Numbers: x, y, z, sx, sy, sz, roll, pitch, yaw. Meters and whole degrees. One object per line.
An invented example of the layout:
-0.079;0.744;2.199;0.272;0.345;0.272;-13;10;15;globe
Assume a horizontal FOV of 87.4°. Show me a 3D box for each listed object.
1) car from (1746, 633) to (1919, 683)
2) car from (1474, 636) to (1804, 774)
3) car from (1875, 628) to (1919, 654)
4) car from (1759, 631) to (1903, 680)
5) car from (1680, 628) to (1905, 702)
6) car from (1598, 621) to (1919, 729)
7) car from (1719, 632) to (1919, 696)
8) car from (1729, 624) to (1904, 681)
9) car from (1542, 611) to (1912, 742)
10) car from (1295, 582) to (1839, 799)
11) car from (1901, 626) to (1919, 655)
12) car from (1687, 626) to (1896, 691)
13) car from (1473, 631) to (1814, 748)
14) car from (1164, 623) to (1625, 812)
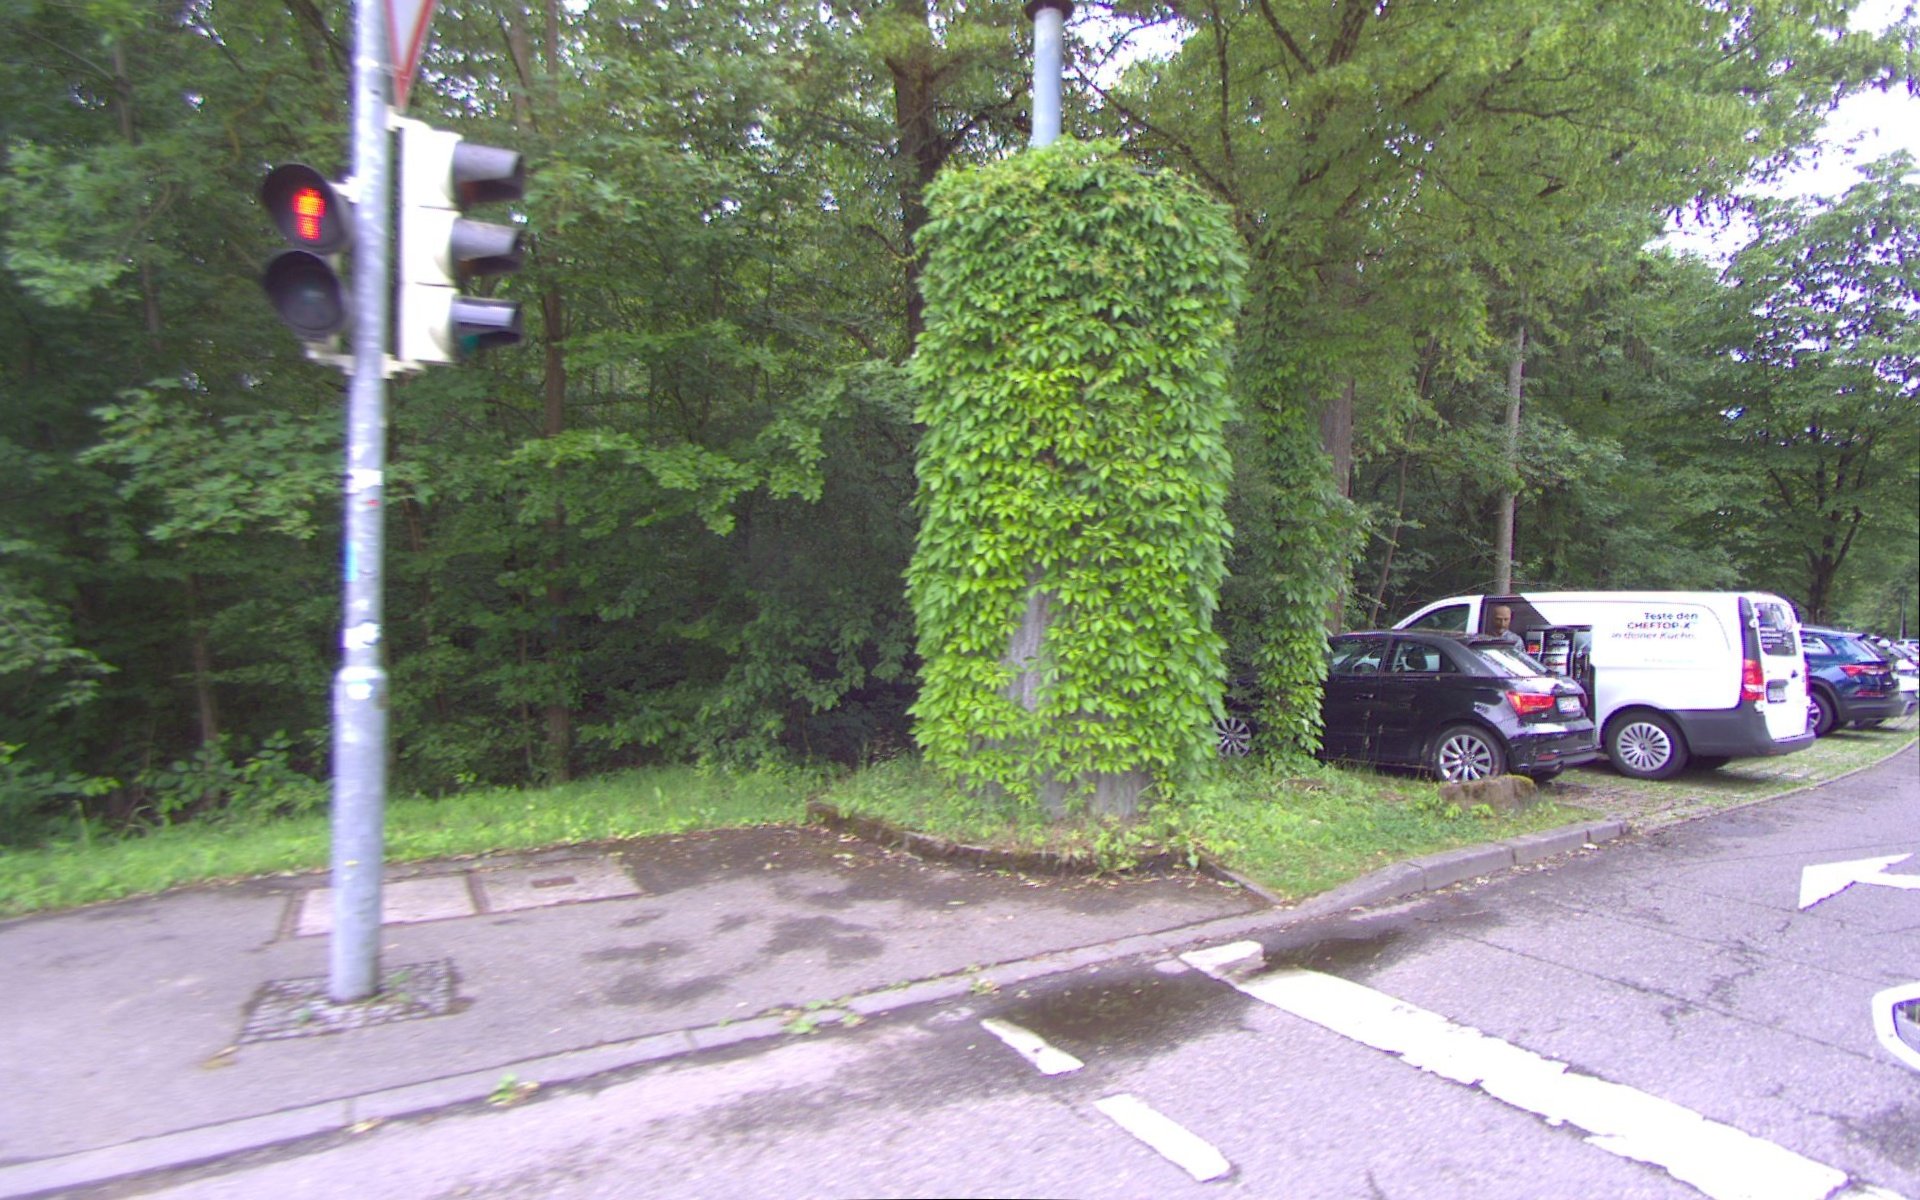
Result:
29.350;1.903;33.709;4.586;1.497;2.084;0;-1;41;car
8.741;1.252;13.135;1.639;1.486;3.204;0;-1;-35;car
64.968;2.804;69.294;1.759;1.684;4.709;1;-1;30;car
32.648;2.033;37.715;1.984;1.649;3.924;1;-1;-42;car
19.334;1.451;23.434;3.945;1.511;1.697;-1;-1;44;car
14.110;1.213;17.848;2.015;1.619;4.317;2;-1;-41;car
24.169;1.746;28.342;4.190;1.550;1.994;0;-1;45;car
27.443;1.640;32.352;4.182;1.669;1.961;0;-1;39;car
12.207;1.089;16.232;2.153;1.717;4.389;1;0;-39;car
6.639;0.842;11.625;1.960;1.941;5.049;1;-1;-37;car
61.784;2.592;63.978;1.719;1.804;4.542;1;0;31;car
22.067;1.509;26.762;4.189;1.493;1.710;1;-1;44;car
10.130;1.225;15.113;1.809;1.464;3.951;1;-2;-41;car
4.147;0.989;10.141;1.707;1.397;3.957;1;0;-37;car
